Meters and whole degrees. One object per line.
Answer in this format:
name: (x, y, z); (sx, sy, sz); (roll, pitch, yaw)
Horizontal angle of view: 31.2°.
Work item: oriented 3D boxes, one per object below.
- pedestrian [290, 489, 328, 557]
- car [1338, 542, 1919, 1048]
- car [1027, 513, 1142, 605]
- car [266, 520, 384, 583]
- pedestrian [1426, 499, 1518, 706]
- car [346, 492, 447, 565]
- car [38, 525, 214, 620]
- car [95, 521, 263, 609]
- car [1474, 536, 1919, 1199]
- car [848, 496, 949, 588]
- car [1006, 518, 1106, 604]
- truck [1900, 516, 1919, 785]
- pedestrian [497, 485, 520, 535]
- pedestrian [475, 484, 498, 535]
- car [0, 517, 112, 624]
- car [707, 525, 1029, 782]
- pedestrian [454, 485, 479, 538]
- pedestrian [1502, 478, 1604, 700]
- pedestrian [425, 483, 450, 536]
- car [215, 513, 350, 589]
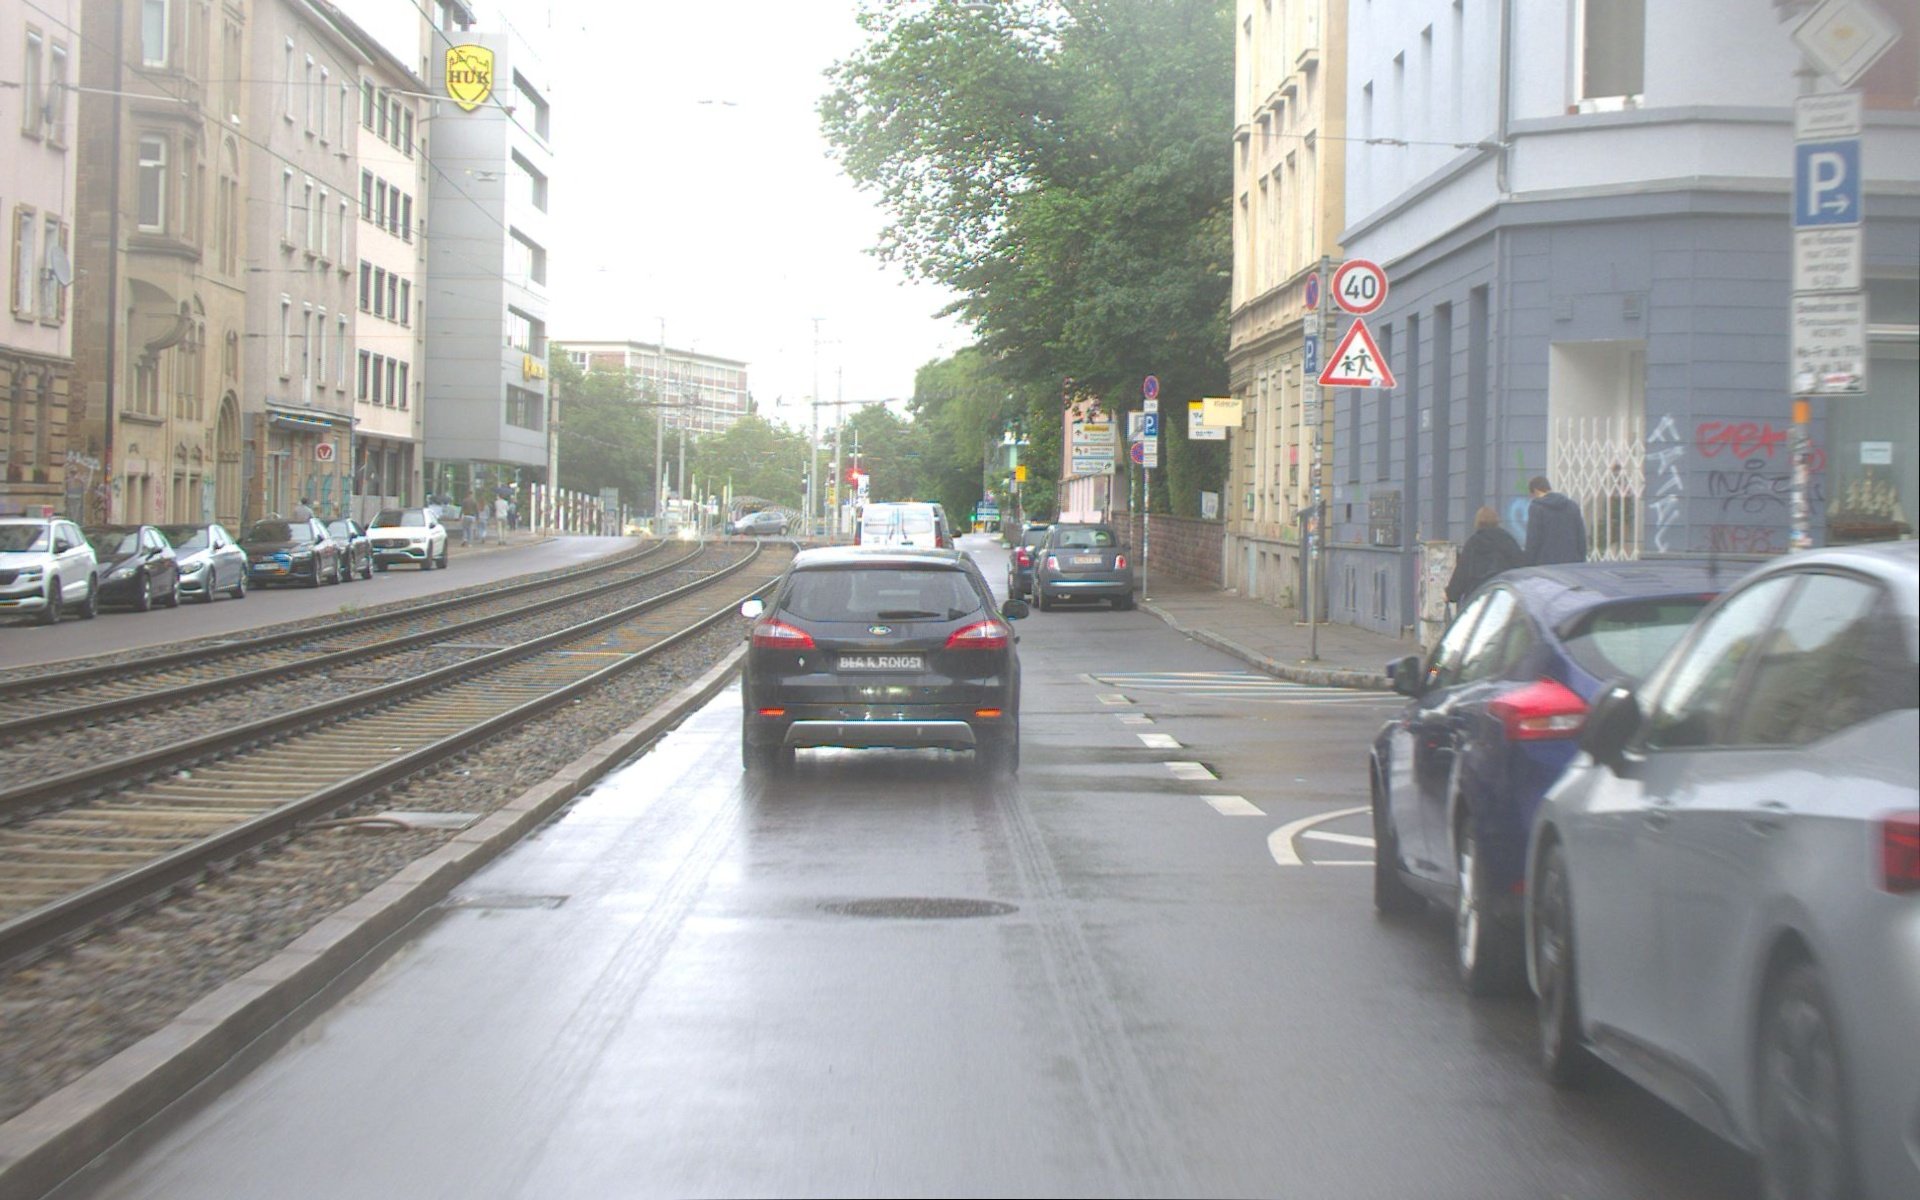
pedestrian: (-17.103, -2.028, 90.327); (0.801, 1.744, 0.984); (1, 1, -1)
car: (2.532, 0.587, 13.037); (1.720, 1.510, 4.259); (1, 2, 0)
car: (2.146, -0.741, 60.025); (1.738, 1.484, 4.001); (1, 2, -1)
car: (-14.793, -1.154, 80.315); (1.993, 1.371, 4.238); (1, 1, -1)
pedestrian: (4.676, 0.011, 31.435); (0.661, 1.845, 0.821); (1, 2, -1)
car: (-14.940, -1.895, 91.327); (1.993, 1.833, 5.072); (1, 1, -2)
car: (-14.137, -0.499, 58.510); (1.993, 1.514, 4.209); (2, 1, -1)
car: (-14.298, -0.669, 63.204); (1.993, 1.514, 4.992); (2, 1, -1)
car: (2.491, 0.654, 8.283); (1.746, 1.518, 4.355); (1, 2, -1)
car: (-1.225, -1.168, 70.670); (1.993, 1.810, 4.271); (0, 0, 0)
car: (1.785, -0.761, 64.704); (1.642, 1.510, 4.039); (1, 2, -1)
truck: (9.038, 0.371, 22.666); (5.058, 1.812, 2.084); (0, 2, -3)
pedestrian: (-16.767, -3.344, 127.721); (0.744, 1.847, 0.839); (0, 0, -1)
pedestrian: (-17.635, -3.364, 128.082); (0.744, 1.847, 0.839); (0, 0, -1)
car: (-14.380, -0.489, 52.100); (1.993, 1.514, 4.436); (2, 1, -1)
car: (-0.579, 0.318, 23.587); (1.993, 1.588, 4.271); (0, 0, 0)
pedestrian: (-17.485, -3.132, 121.803); (0.744, 1.847, 0.839); (0, 0, -1)
pedestrian: (5.478, -0.113, 31.801); (0.736, 2.006, 0.821); (1, 2, -1)
pedestrian: (-18.487, -3.200, 121.657); (0.744, 1.847, 0.839); (0, 0, -1)
car: (-14.476, -1.062, 73.653); (1.993, 1.514, 4.676); (2, 1, -1)
